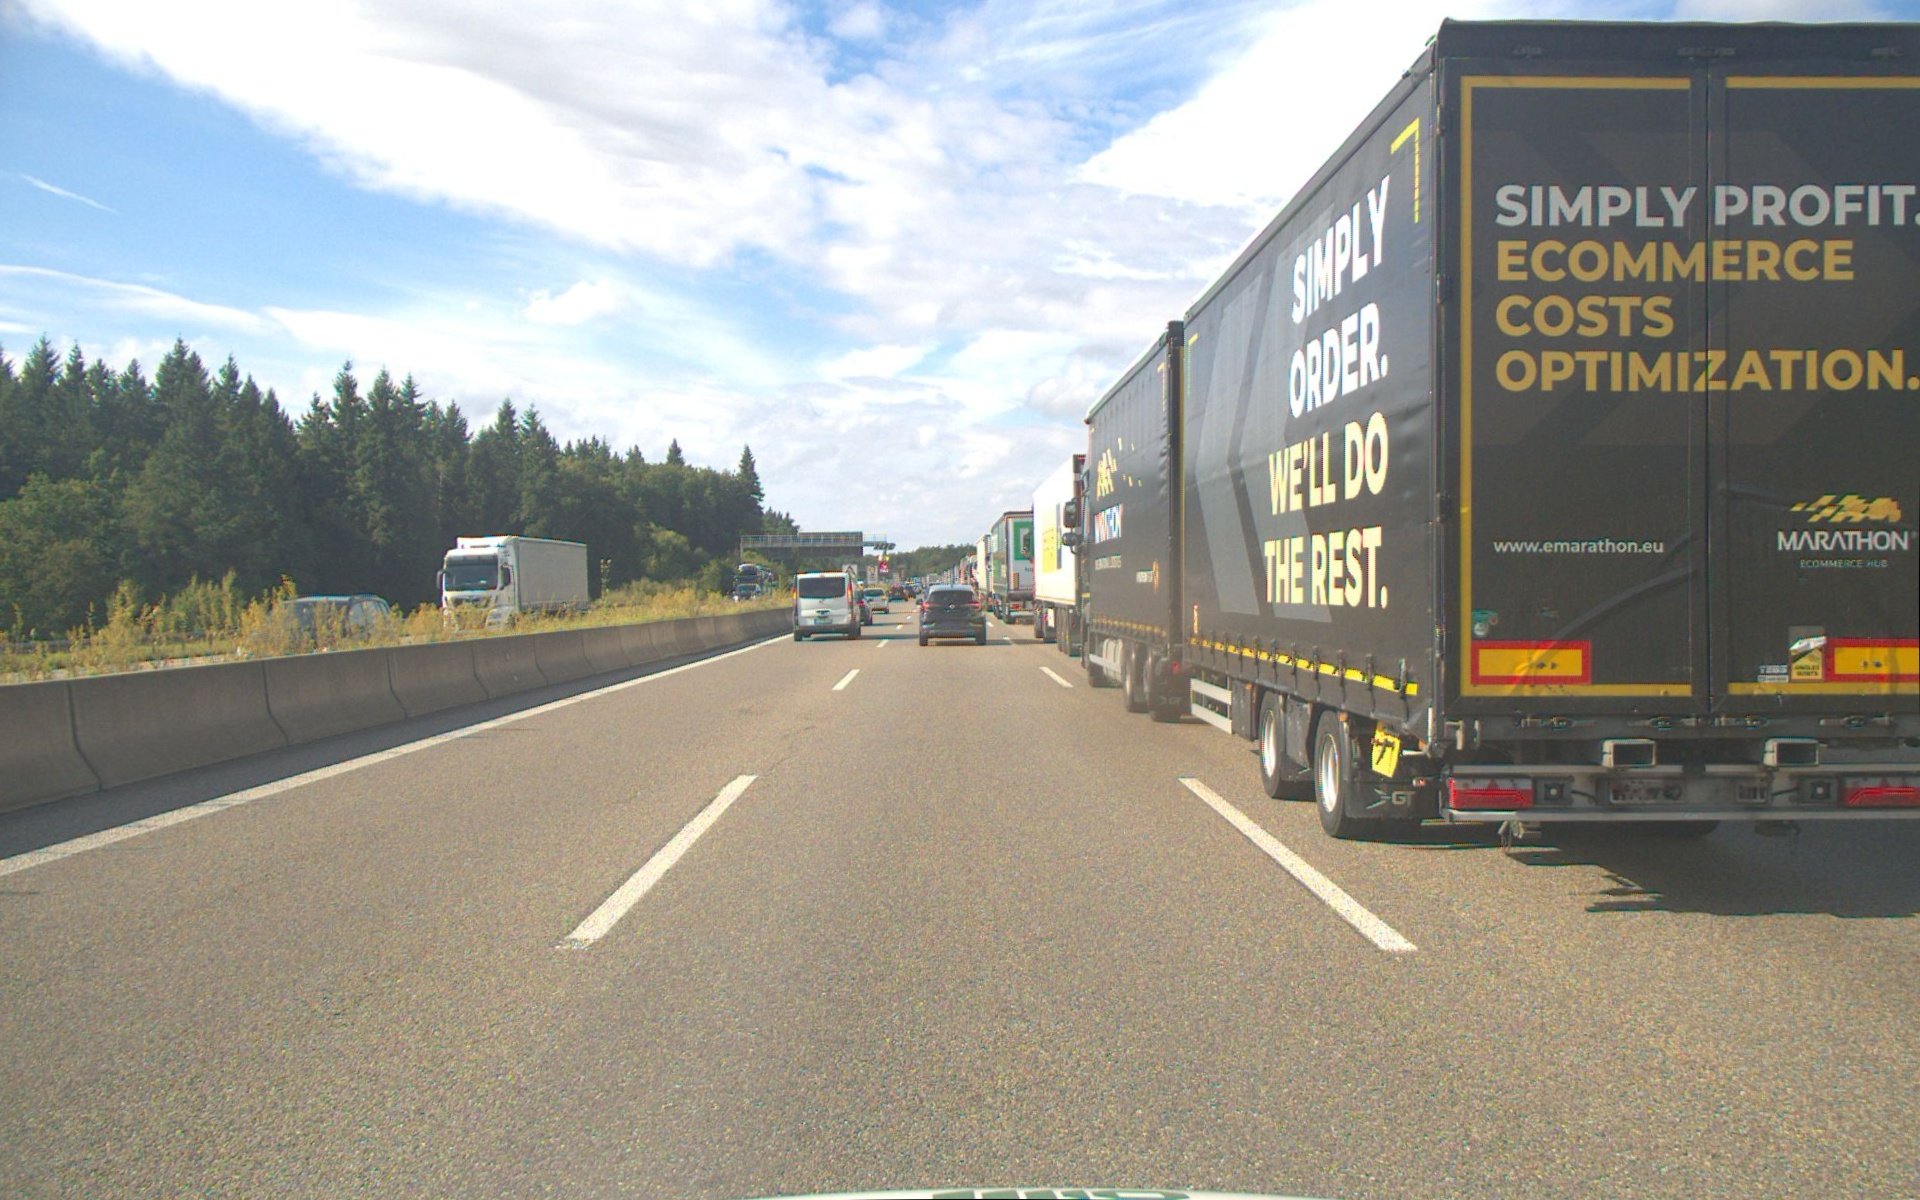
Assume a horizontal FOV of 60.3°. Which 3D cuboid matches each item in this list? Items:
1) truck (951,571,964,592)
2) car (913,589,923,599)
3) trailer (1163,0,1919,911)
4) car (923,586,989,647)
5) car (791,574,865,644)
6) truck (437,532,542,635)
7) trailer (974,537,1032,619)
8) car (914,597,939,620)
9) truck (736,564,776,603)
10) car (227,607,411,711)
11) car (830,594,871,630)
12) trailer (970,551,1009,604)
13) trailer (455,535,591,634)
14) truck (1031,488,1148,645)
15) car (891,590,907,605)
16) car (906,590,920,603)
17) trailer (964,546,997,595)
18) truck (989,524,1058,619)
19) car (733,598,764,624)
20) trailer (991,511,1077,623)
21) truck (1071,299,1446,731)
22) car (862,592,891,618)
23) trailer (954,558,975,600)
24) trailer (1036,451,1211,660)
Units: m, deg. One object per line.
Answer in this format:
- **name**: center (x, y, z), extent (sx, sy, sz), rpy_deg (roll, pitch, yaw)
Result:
- **truck**: center (-0.371, -2.782, 248.479), extent (1.953, 3.105, 4.981), rpy_deg (1, 0, 0)
- **car**: center (-6.005, -0.856, 237.079), extent (1.333, 1.324, 3.084), rpy_deg (1, 0, -1)
- **trailer**: center (3.411, -0.719, 11.605), extent (2.661, 4.030, 8.709), rpy_deg (1, 1, -1)
- **car**: center (-0.130, 0.421, 44.206), extent (1.662, 1.509, 4.159), rpy_deg (1, 0, -1)
- **car**: center (-4.008, 0.257, 50.877), extent (1.893, 2.013, 5.098), rpy_deg (1, 0, -1)
- **truck**: center (-19.508, -0.674, 68.924), extent (2.762, 4.045, 5.832), rpy_deg (-1, 0, -1)
- **trailer**: center (2.288, -1.221, 92.435), extent (2.648, 4.153, 12.943), rpy_deg (-2, 0, -1)
- **car**: center (-2.208, 0.540, 107.848), extent (1.549, 1.420, 3.206), rpy_deg (1, 0, -2)
- **truck**: center (-20.982, -1.667, 170.599), extent (2.774, 3.753, 11.129), rpy_deg (-2, 0, -1)
- **car**: center (-11.728, 1.023, 30.572), extent (1.778, 1.723, 4.250), rpy_deg (1, 0, -1)
- **car**: center (-4.463, 0.474, 67.812), extent (1.469, 1.420, 3.475), rpy_deg (2, 0, -1)
- **trailer**: center (2.142, -1.607, 122.611), extent (2.489, 3.717, 10.625), rpy_deg (-2, 0, 0)
- **trailer**: center (-19.627, -0.666, 75.378), extent (2.775, 4.062, 13.546), rpy_deg (-1, 0, -1)
- **truck**: center (3.470, -0.871, 45.637), extent (2.744, 4.007, 5.825), rpy_deg (-1, 0, 0)
- **car**: center (-5.573, -0.197, 151.046), extent (1.405, 1.333, 3.532), rpy_deg (1, 0, -1)
- **car**: center (-4.943, -0.347, 174.207), extent (1.405, 1.333, 3.532), rpy_deg (1, 0, -1)
- **trailer**: center (1.840, -2.687, 154.028), extent (2.745, 4.318, 11.056), rpy_deg (-2, 0, 0)
- **truck**: center (2.728, -1.209, 72.904), extent (2.593, 3.936, 6.995), rpy_deg (-1, 0, -1)
- **car**: center (-16.487, 0.826, 129.316), extent (1.840, 1.909, 4.489), rpy_deg (1, 0, 0)
- **trailer**: center (2.769, -1.205, 65.846), extent (2.607, 3.936, 13.393), rpy_deg (-2, 0, -1)
- **truck**: center (3.234, -0.825, 21.097), extent (2.685, 4.109, 10.200), rpy_deg (1, 0, -1)
- **car**: center (-4.748, 0.288, 94.314), extent (1.469, 1.420, 3.475), rpy_deg (1, 0, -1)
- **trailer**: center (0.497, -2.208, 177.646), extent (2.106, 4.333, 8.439), rpy_deg (-1, 0, 0)
- **trailer**: center (3.462, -0.871, 38.470), extent (2.734, 4.007, 13.069), rpy_deg (-1, 0, 0)
